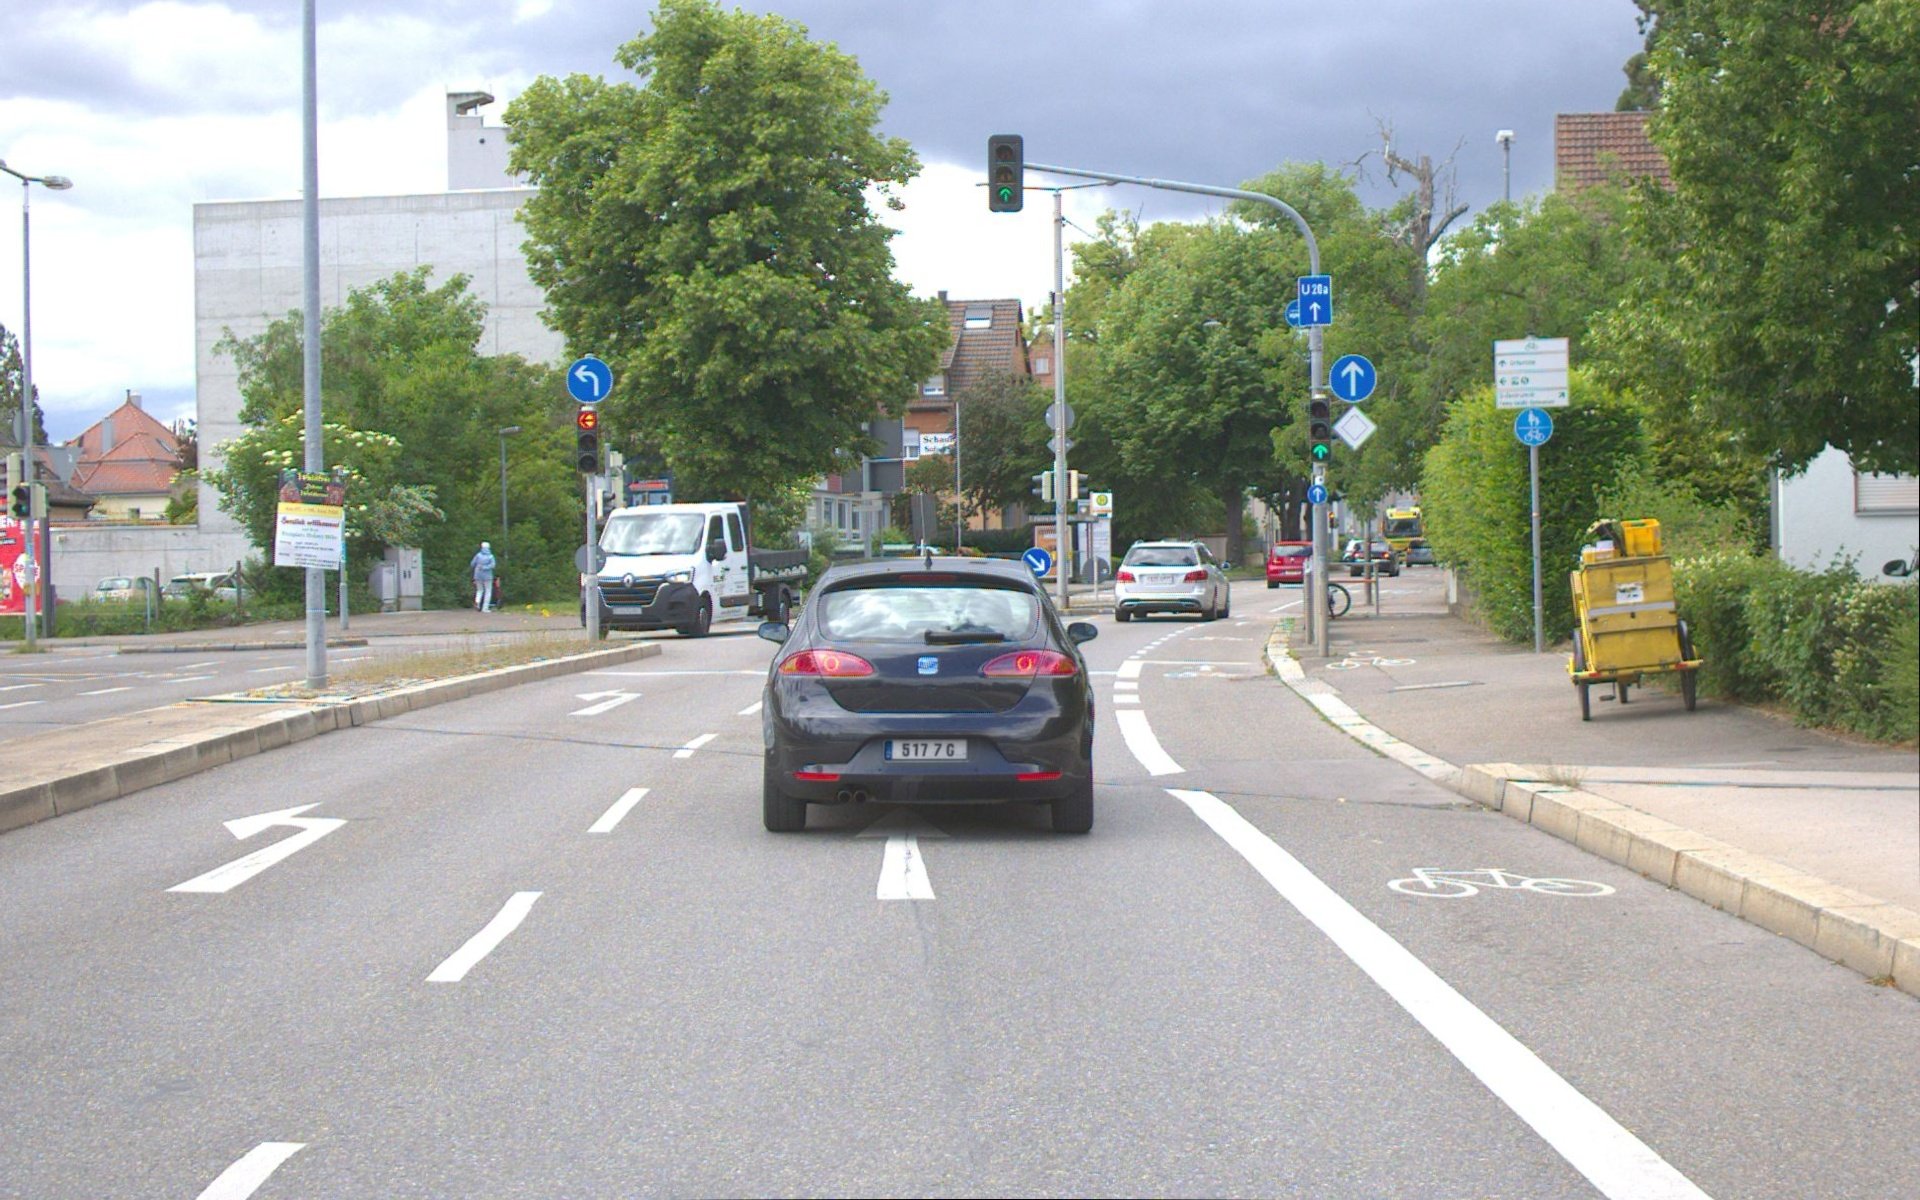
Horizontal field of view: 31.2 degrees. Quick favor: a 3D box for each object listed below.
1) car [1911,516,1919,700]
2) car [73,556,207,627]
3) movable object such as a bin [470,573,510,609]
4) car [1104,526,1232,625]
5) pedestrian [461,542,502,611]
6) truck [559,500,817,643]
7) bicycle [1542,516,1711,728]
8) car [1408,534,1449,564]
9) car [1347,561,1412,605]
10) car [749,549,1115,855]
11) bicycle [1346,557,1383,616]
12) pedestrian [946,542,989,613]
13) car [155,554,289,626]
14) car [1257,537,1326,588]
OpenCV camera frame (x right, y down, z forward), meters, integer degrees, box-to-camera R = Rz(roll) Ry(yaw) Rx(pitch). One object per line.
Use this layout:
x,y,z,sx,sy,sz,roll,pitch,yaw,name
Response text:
8.669,0.102,27.876,1.671,1.499,4.058,0,3,13,car
-24.273,-0.279,101.927,1.995,2.007,3.996,2,1,19,car
-10.607,-0.200,77.599,0.655,0.795,0.897,-1,1,7,movable object such as a bin
3.905,-0.483,64.002,1.820,1.693,4.251,-1,1,11,car
-10.708,-0.531,76.911,0.655,1.517,0.923,-1,1,7,pedestrian
-4.511,-0.526,58.445,2.127,2.257,6.801,-1,1,15,truck
5.195,0.132,26.962,0.891,1.505,2.783,-5,1,5,bicycle
25.538,-2.788,187.281,1.850,1.590,4.104,-1,1,12,car
17.001,-0.693,139.216,1.995,1.678,3.997,-1,1,16,car
-0.057,0.476,18.920,1.759,1.444,3.714,1,1,3,car
7.200,-0.245,61.179,0.628,1.025,1.503,0,1,8,bicycle
0.151,-0.474,72.630,0.773,1.402,0.601,4,4,-3,pedestrian
-21.423,-0.302,99.962,1.995,2.007,3.996,2,1,19,car
10.375,-1.189,107.444,1.942,1.476,4.252,-1,1,8,car
